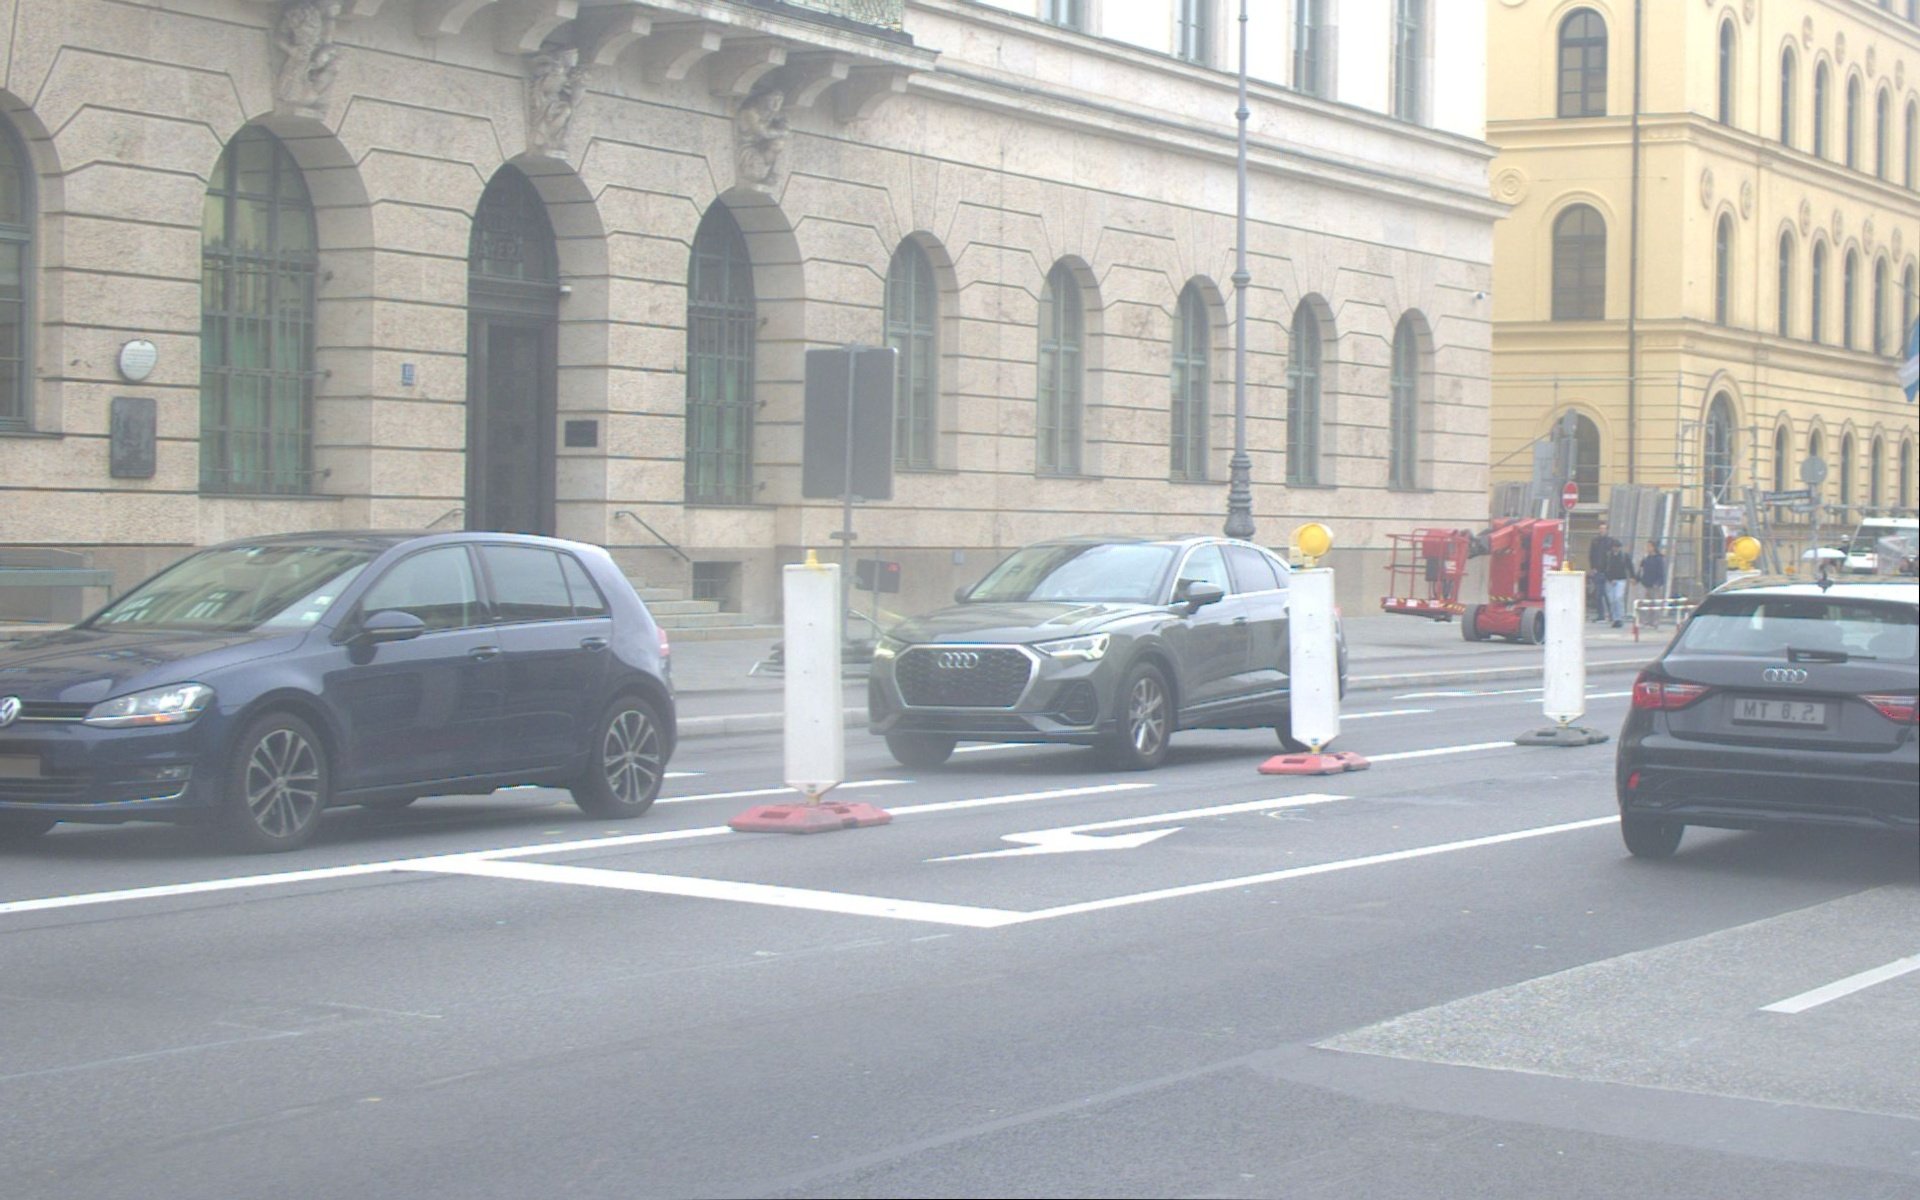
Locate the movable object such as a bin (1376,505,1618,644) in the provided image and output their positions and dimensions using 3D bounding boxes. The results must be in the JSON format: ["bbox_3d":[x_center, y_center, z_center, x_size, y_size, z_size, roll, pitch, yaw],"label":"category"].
[{"bbox_3d":[8.424,-0.353,53.454,1.514,2.007,5.965,2,0,31],"label":"movable object such as a bin"}]

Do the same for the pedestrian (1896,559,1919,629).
[{"bbox_3d":[21.077,-0.123,76.040,0.553,1.525,0.616,2,0,27],"label":"pedestrian"}]

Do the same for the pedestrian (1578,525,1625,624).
[{"bbox_3d":[12.648,-0.498,67.755,0.680,1.925,0.651,2,0,27],"label":"pedestrian"}]

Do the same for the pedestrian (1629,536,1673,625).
[{"bbox_3d":[12.936,-0.367,64.348,0.613,1.647,0.616,2,0,27],"label":"pedestrian"}]

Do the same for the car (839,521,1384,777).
[{"bbox_3d":[1.153,0.291,23.397,1.789,1.562,4.568,0,0,30],"label":"car"}]

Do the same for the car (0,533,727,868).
[{"bbox_3d":[-3.030,0.427,16.444,1.746,1.384,4.233,0,0,30],"label":"car"}]

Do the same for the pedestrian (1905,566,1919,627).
[{"bbox_3d":[22.475,-0.074,80.403,0.540,1.402,0.616,2,0,27],"label":"pedestrian"}]

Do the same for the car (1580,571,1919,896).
[{"bbox_3d":[4.615,0.591,17.382,1.866,1.383,3.994,3,2,26],"label":"car"}]

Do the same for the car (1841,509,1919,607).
[{"bbox_3d":[23.003,-0.982,83.964,1.742,2.281,3.993,2,0,31],"label":"car"}]

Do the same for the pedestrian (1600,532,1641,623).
[{"bbox_3d":[12.409,-0.419,64.610,0.553,1.670,0.616,2,0,27],"label":"pedestrian"}]
